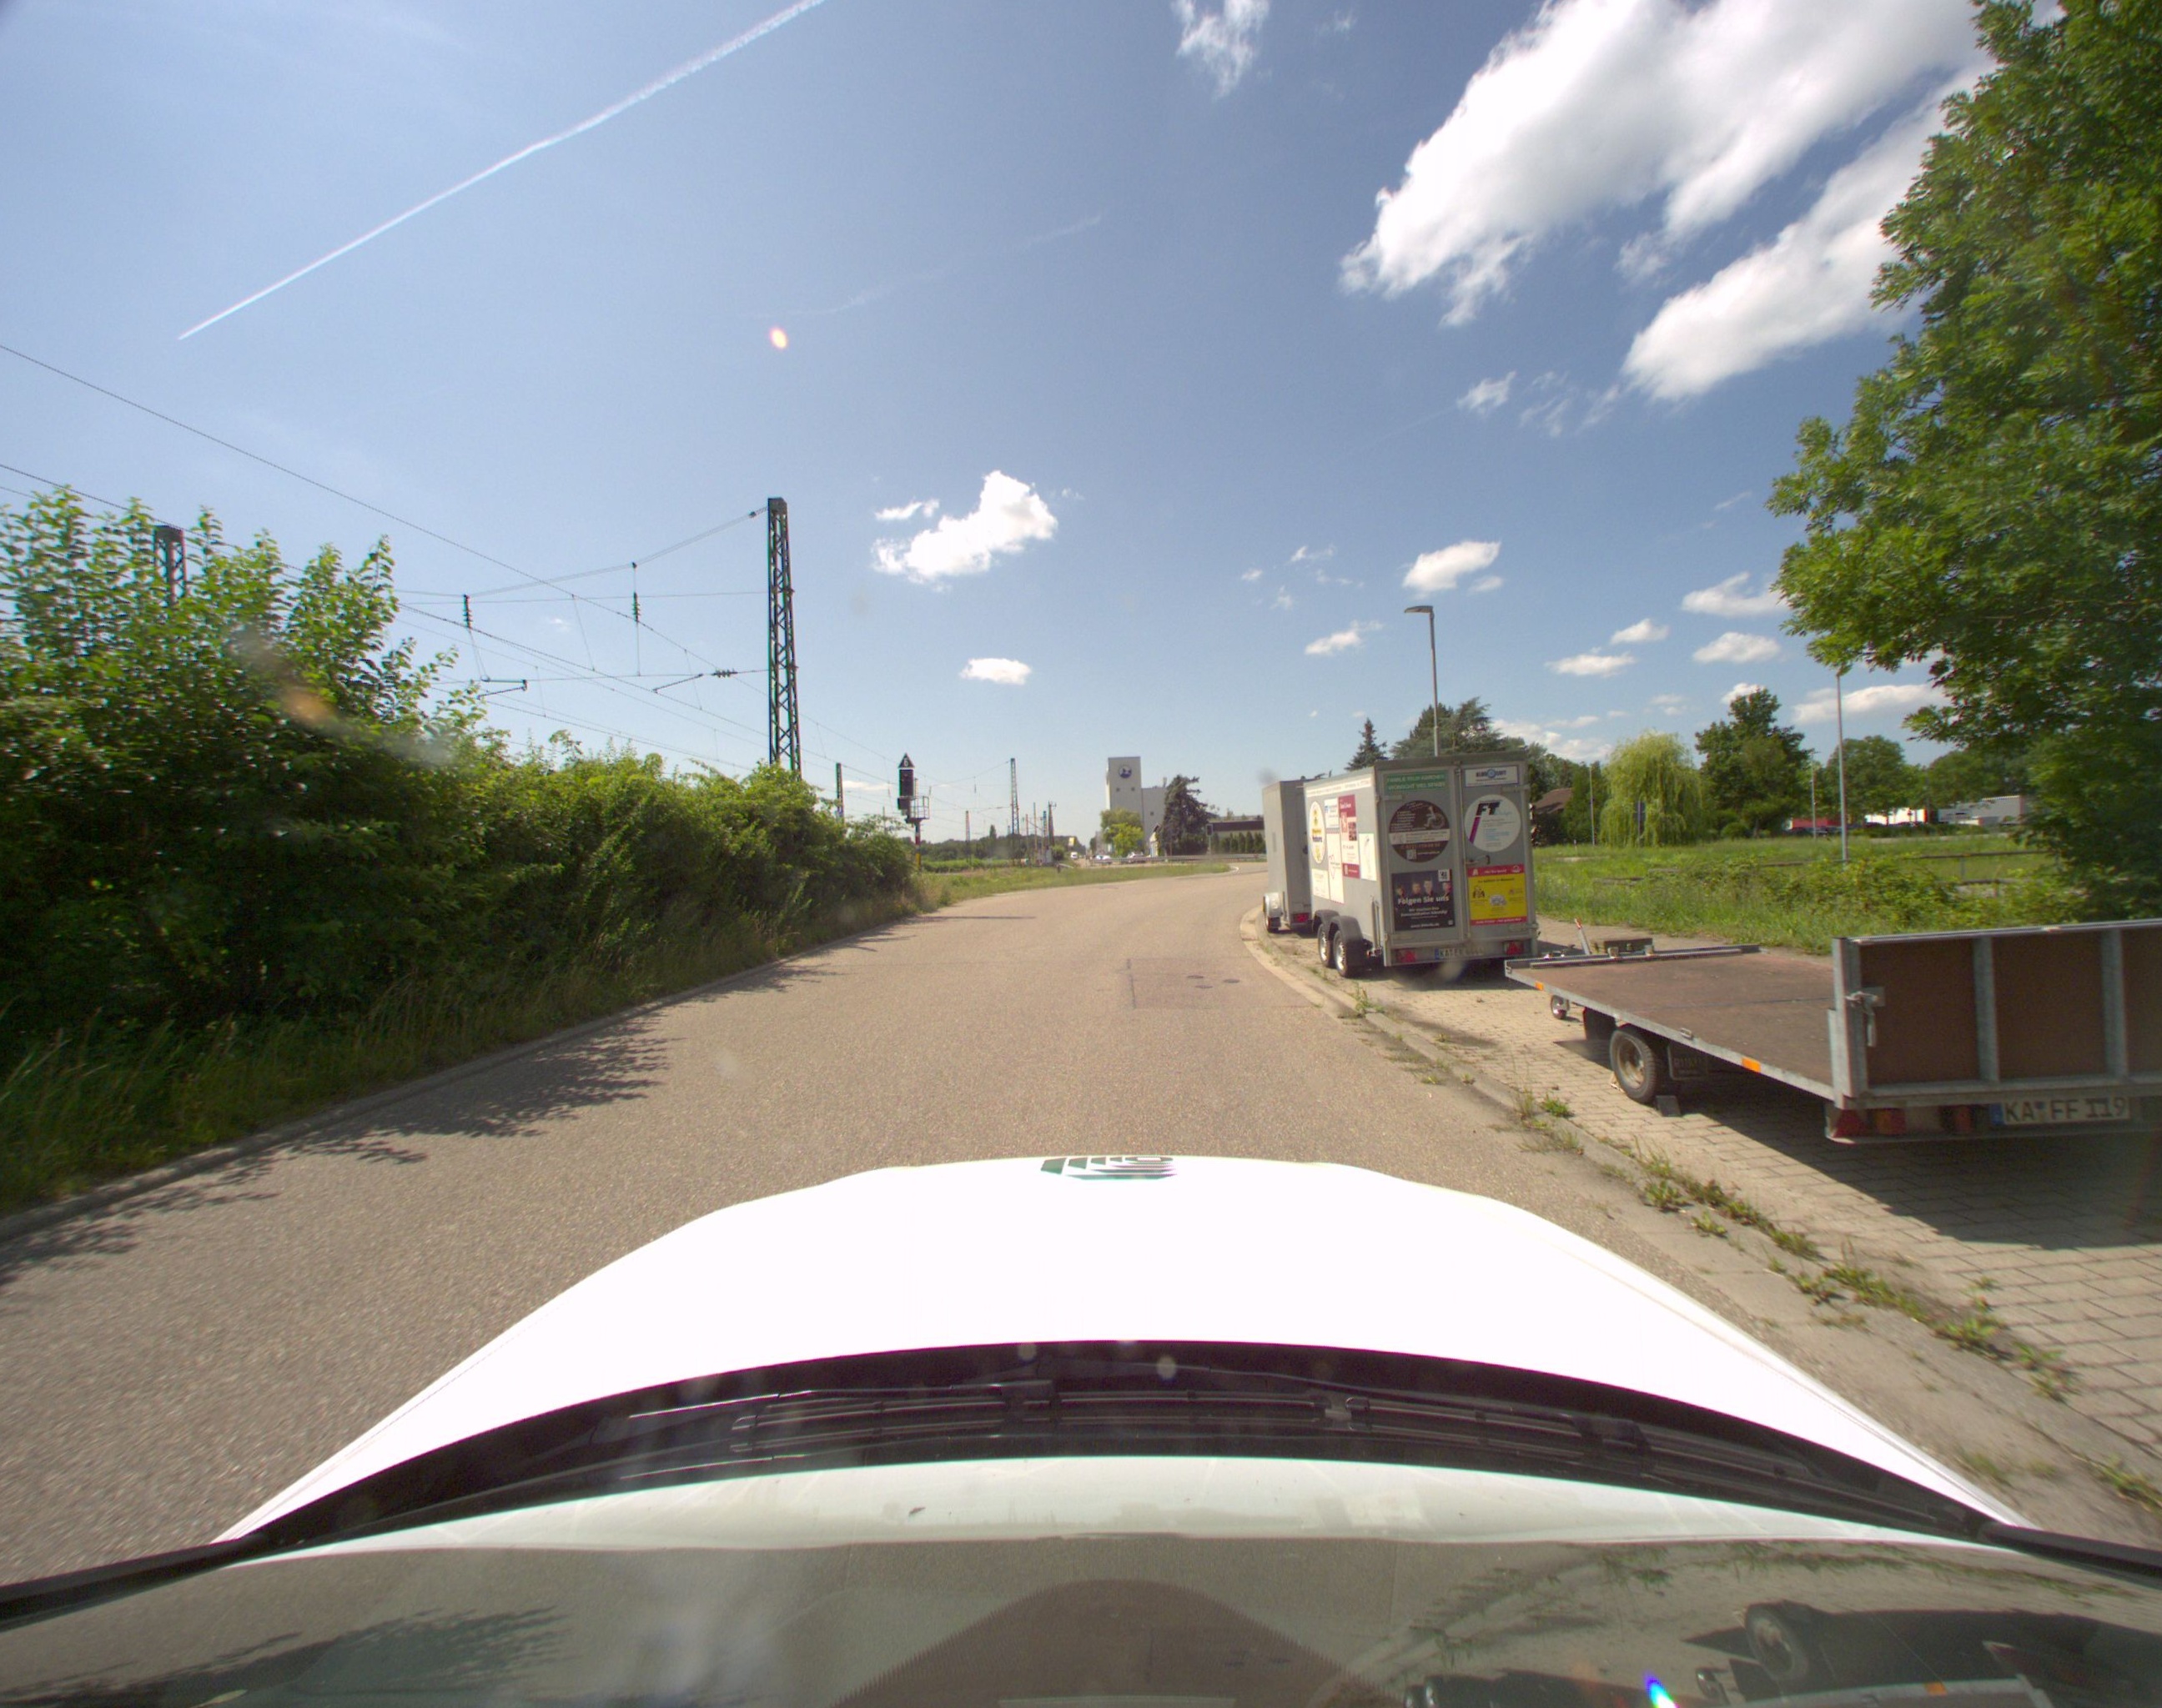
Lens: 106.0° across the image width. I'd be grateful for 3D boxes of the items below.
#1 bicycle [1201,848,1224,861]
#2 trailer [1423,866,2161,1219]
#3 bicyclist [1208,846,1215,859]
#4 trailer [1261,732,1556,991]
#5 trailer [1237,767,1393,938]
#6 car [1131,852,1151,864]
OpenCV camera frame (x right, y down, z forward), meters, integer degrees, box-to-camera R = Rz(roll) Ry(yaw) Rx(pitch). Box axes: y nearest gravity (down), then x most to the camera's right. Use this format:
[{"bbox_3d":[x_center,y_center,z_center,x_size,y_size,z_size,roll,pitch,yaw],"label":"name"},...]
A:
[{"bbox_3d":[13.086,0.071,81.275,2.119,1.164,0.665,-2,0,26],"label":"bicycle"},{"bbox_3d":[4.047,0.741,5.257,1.996,1.123,4.494,-5,-1,4],"label":"trailer"},{"bbox_3d":[13.049,-0.157,81.271,0.505,1.255,0.472,-2,0,26],"label":"bicyclist"},{"bbox_3d":[3.885,0.074,10.732,1.912,2.508,4.743,-5,0,2],"label":"trailer"},{"bbox_3d":[4.304,-0.045,15.869,1.922,2.644,5.194,-5,0,7],"label":"trailer"},{"bbox_3d":[8.003,0.514,108.578,1.990,1.510,4.447,-2,0,-4],"label":"car"}]
